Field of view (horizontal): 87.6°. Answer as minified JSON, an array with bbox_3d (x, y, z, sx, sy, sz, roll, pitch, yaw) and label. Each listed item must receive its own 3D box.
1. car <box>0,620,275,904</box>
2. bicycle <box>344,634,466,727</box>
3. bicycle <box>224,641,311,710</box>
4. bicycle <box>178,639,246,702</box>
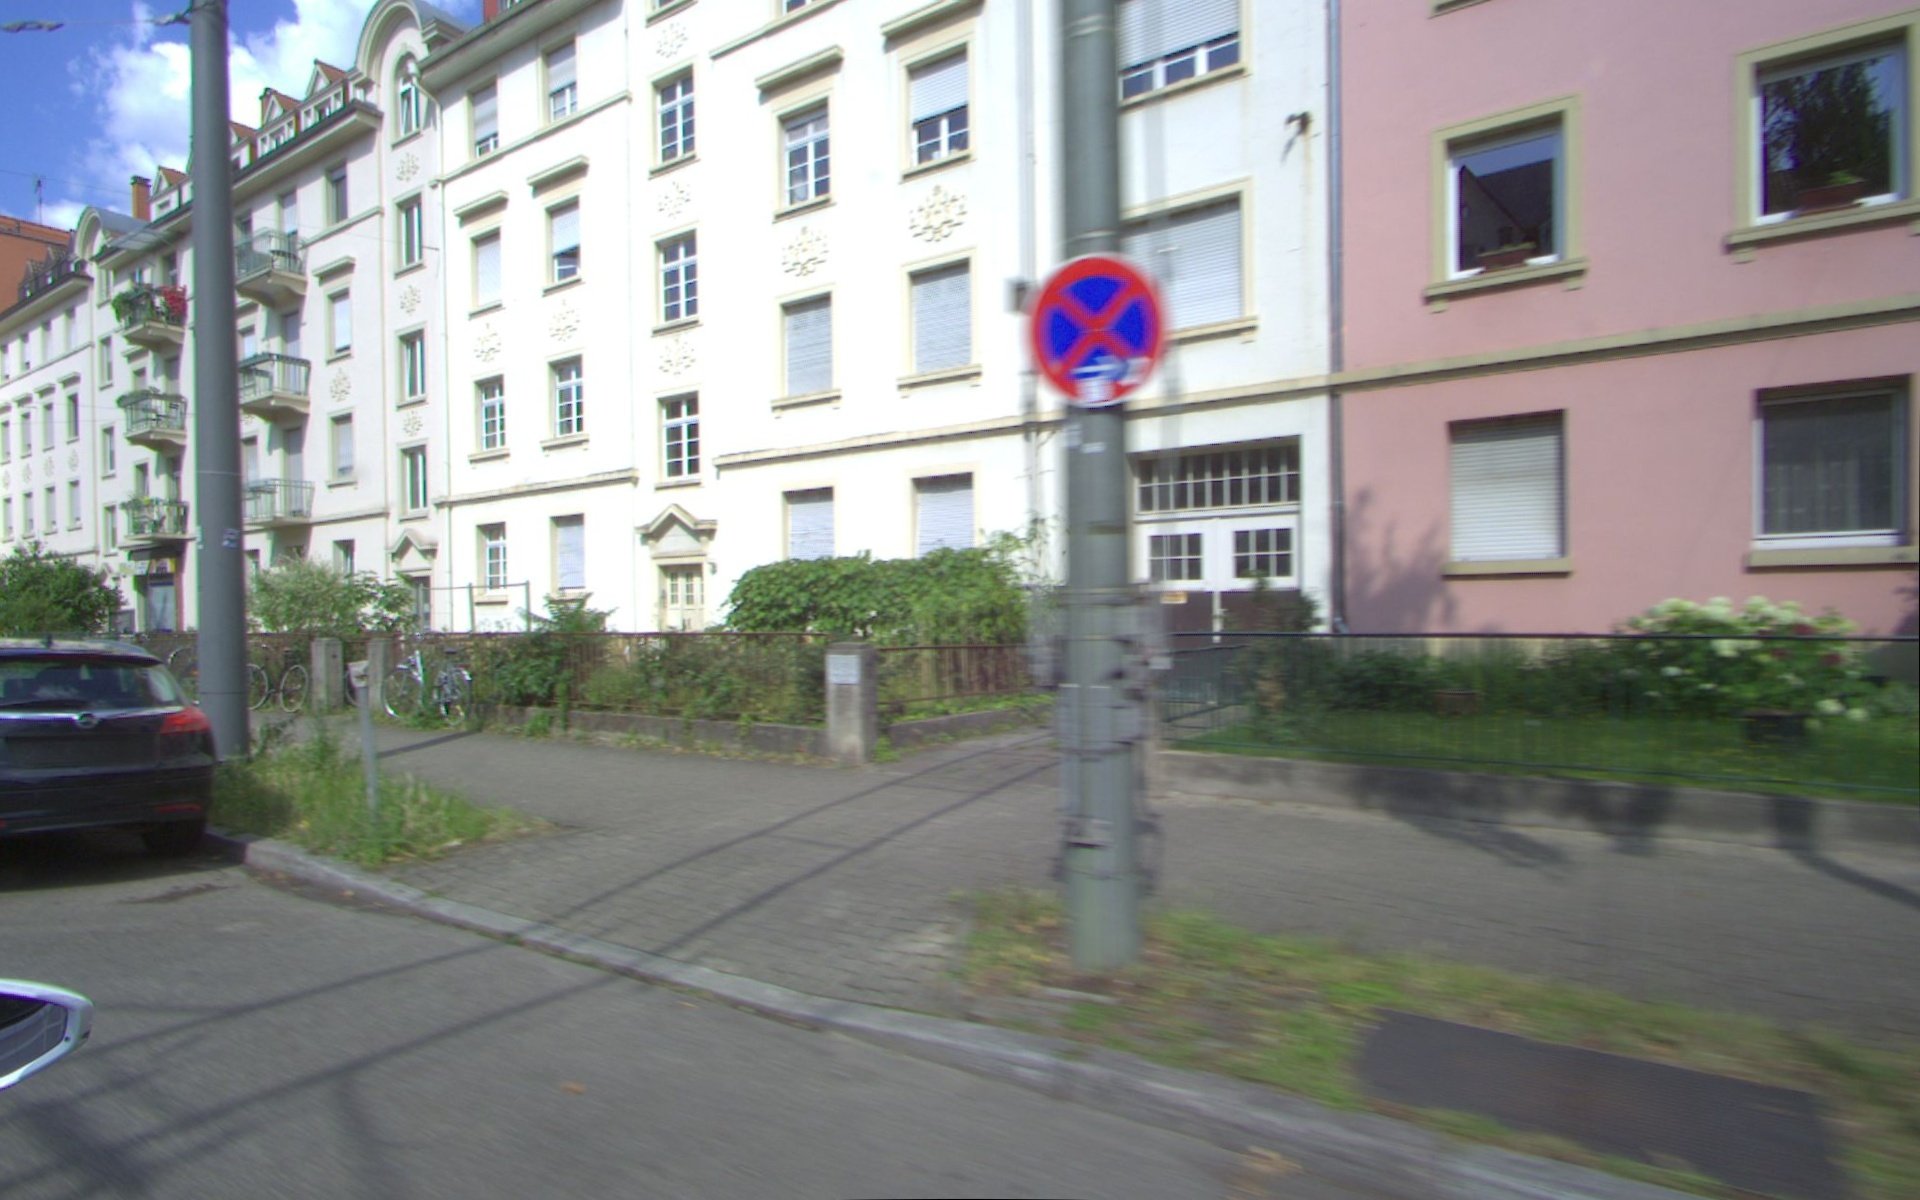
[{"bbox_3d":[-6.854,0.933,7.044,4.463,1.539,1.789,-1,-3,34],"label":"car"},{"bbox_3d":[-7.111,0.987,12.778,2.154,1.091,0.470,-1,0,36],"label":"bicycle"},{"bbox_3d":[-10.451,1.118,15.087,1.981,0.956,0.377,-1,0,34],"label":"bicycle"},{"bbox_3d":[-12.064,1.120,16.138,1.563,0.951,0.386,-1,0,34],"label":"bicycle"}]
